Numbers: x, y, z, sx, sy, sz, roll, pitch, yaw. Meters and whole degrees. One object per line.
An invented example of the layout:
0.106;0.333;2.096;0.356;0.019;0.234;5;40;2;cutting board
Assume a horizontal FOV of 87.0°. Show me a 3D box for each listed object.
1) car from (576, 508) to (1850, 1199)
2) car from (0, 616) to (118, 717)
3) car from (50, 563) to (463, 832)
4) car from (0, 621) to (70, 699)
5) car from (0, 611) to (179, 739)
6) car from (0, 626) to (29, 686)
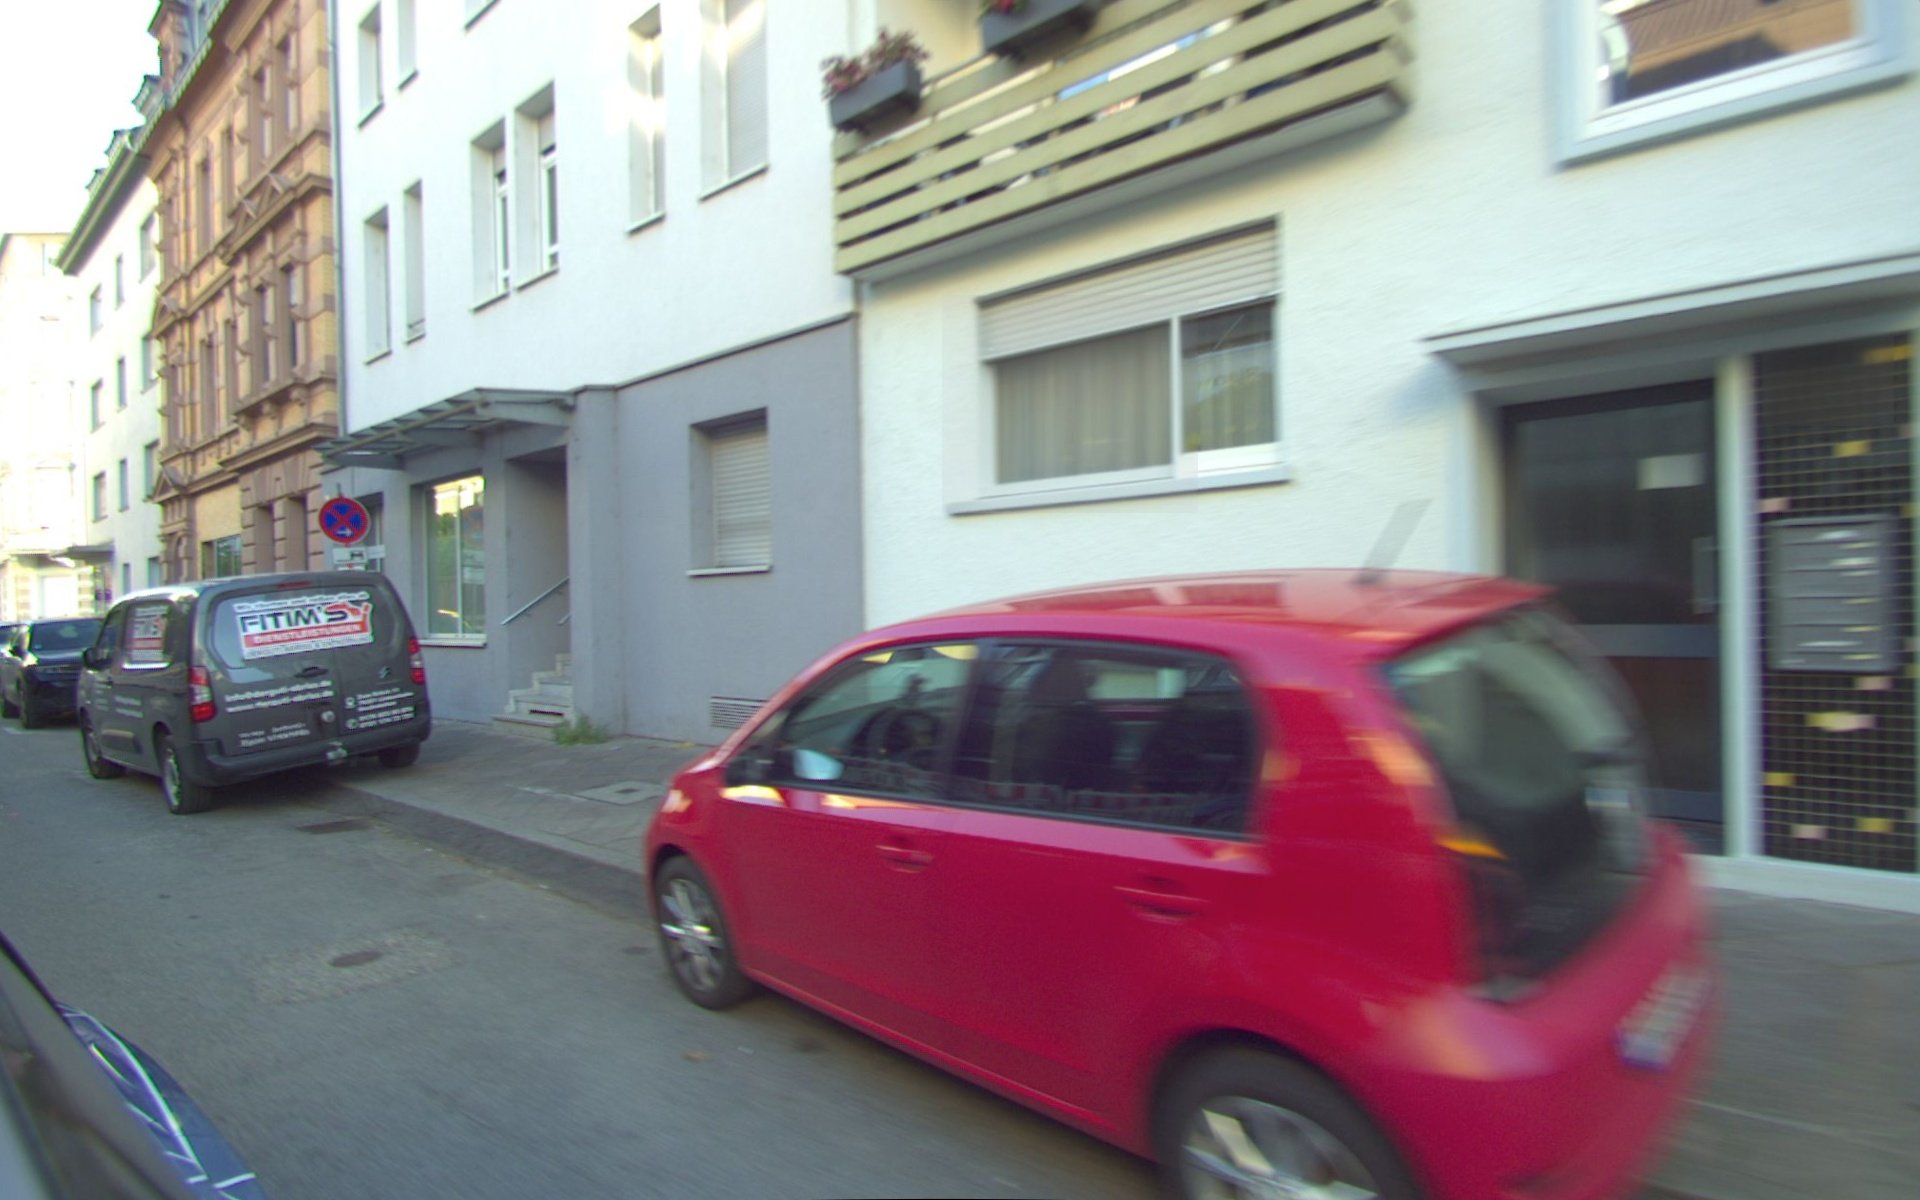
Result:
0.379;0.644;3.282;1.650;1.496;3.609;-8;4;-43;car
-16.159;1.135;17.980;2.792;1.600;1.381;-2;0;41;car
-6.619;0.721;9.305;4.581;1.872;1.973;-2;0;40;car
-20.995;1.314;22.284;3.595;1.519;1.540;-2;2;41;car
-13.261;1.045;15.187;4.013;1.611;1.722;-2;0;42;car
-25.169;1.452;25.829;3.552;1.441;1.616;-2;0;40;car
